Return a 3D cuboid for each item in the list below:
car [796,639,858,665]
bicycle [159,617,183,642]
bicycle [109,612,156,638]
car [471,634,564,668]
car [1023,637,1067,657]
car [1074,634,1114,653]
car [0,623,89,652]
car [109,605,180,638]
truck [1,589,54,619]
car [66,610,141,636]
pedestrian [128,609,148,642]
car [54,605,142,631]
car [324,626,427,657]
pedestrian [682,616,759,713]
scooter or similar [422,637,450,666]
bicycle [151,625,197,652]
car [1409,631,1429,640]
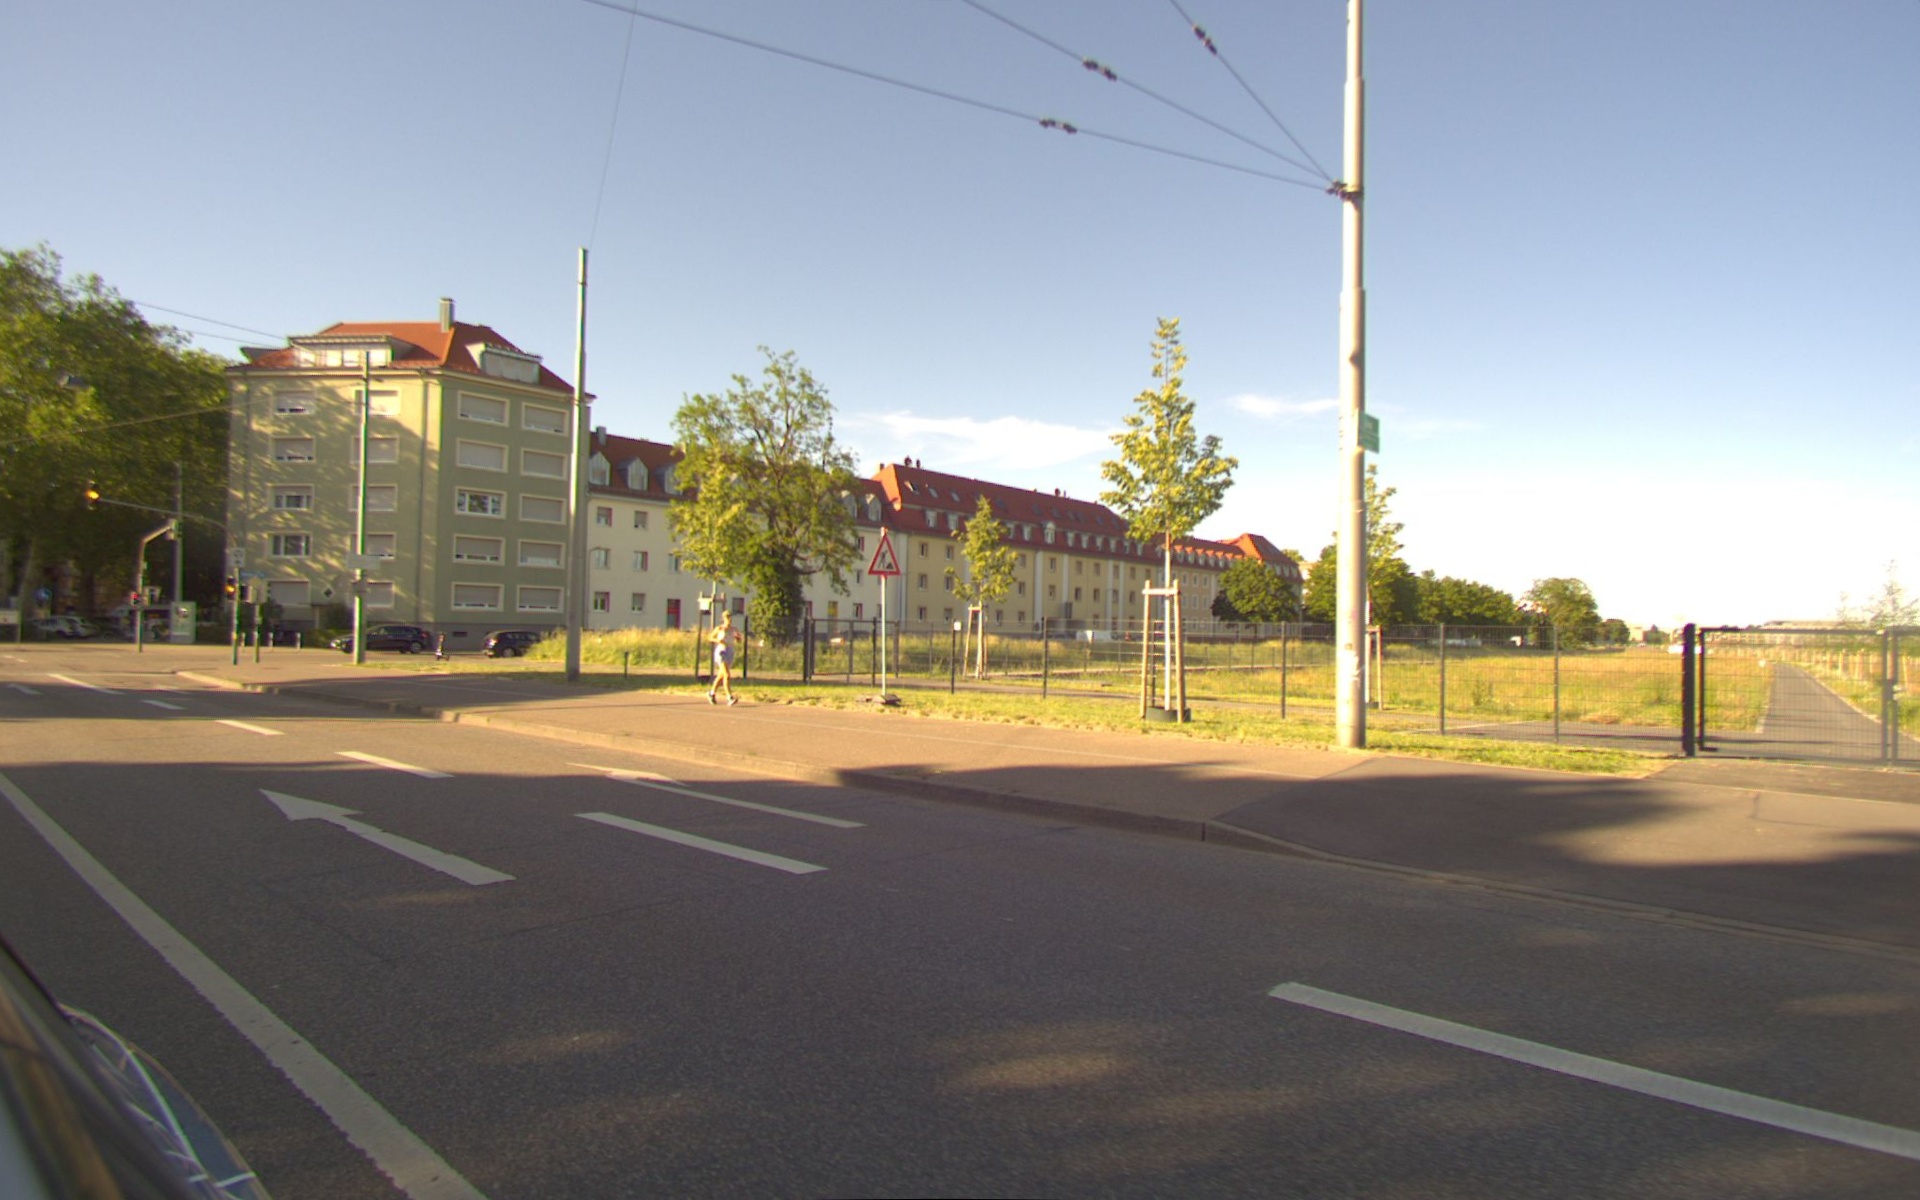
[{"bbox_3d":[-8.532,3.368,65.251,1.698,1.542,3.852,-5,-6,38],"label":"car"},{"bbox_3d":[-47.034,1.764,60.314,2.053,1.390,0.764,3,0,42],"label":"bicycle"},{"bbox_3d":[-49.805,1.513,60.935,2.017,1.473,0.728,3,0,-20],"label":"bicycle"},{"bbox_3d":[-21.685,2.508,49.679,1.698,1.542,3.852,-5,-6,38],"label":"car"},{"bbox_3d":[6.983,3.827,82.874,1.698,1.542,3.852,-5,-6,38],"label":"car"},{"bbox_3d":[11.728,3.847,88.261,1.698,1.542,3.852,-5,-6,38],"label":"car"},{"bbox_3d":[-57.055,2.306,62.923,4.078,1.652,1.780,0,0,-27],"label":"car"},{"bbox_3d":[-68.391,1.797,84.984,4.345,2.646,1.976,0,0,-27],"label":"car"},{"bbox_3d":[-97.497,0.351,105.949,2.304,2.995,8.057,0,0,-30],"label":"truck"},{"bbox_3d":[-63.729,1.673,75.356,3.932,1.851,1.822,0,0,-27],"label":"car"},{"bbox_3d":[-50.572,1.566,62.273,0.685,1.978,0.930,0,0,-19],"label":"pedestrian"},{"bbox_3d":[-56.003,1.138,65.854,4.078,1.652,1.780,0,0,-27],"label":"car"},{"bbox_3d":[-29.760,2.149,51.582,1.942,1.505,4.149,-3,-4,42],"label":"car"},{"bbox_3d":[-4.234,1.104,17.877,1.181,1.641,0.823,-1,-1,44],"label":"pedestrian"},{"bbox_3d":[-21.759,2.146,42.058,0.586,1.153,1.269,1,-6,-8],"label":"scooter or similar"},{"bbox_3d":[-44.668,2.204,57.547,2.027,1.390,0.774,3,0,5],"label":"bicycle"},{"bbox_3d":[78.634,6.139,173.295,1.942,1.505,4.149,-3,-4,42],"label":"car"}]
